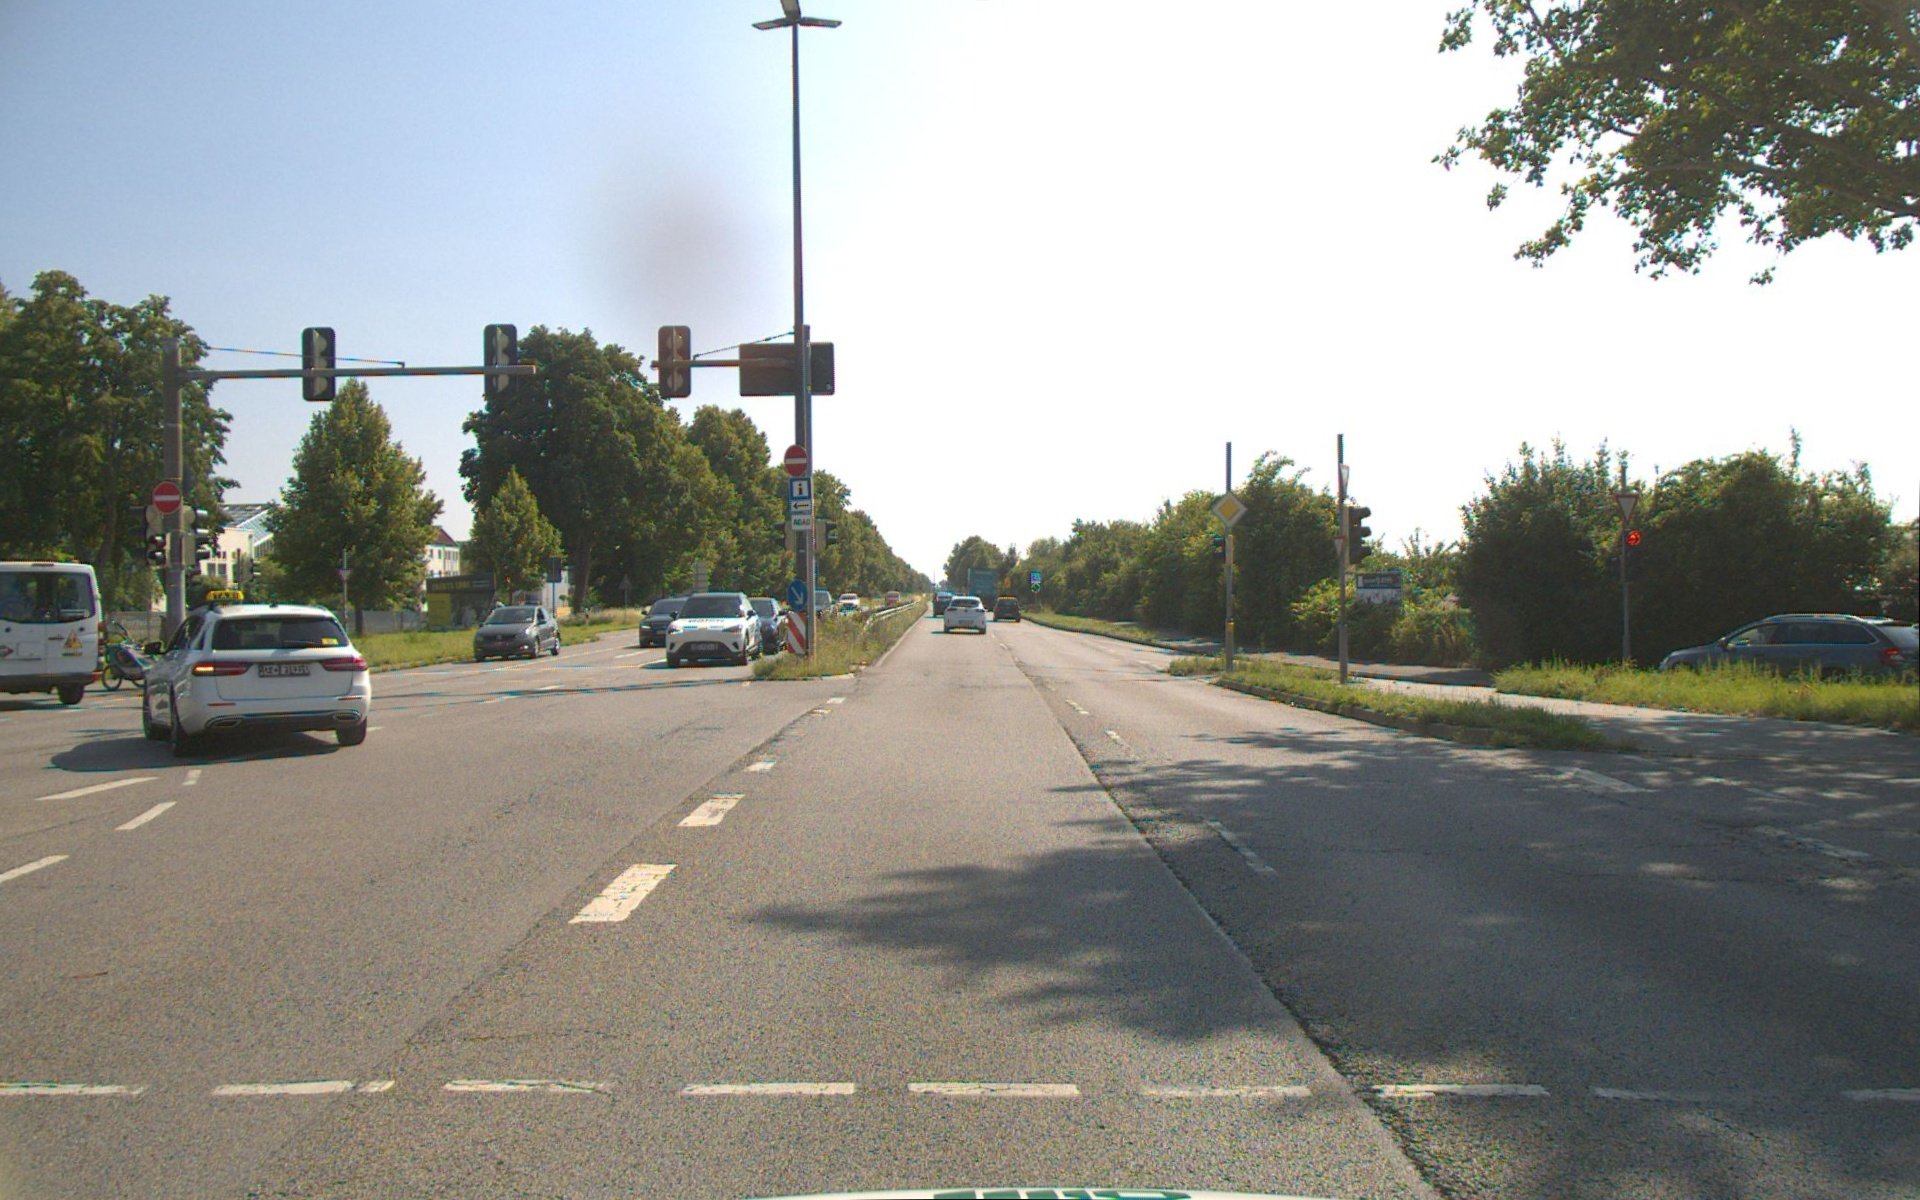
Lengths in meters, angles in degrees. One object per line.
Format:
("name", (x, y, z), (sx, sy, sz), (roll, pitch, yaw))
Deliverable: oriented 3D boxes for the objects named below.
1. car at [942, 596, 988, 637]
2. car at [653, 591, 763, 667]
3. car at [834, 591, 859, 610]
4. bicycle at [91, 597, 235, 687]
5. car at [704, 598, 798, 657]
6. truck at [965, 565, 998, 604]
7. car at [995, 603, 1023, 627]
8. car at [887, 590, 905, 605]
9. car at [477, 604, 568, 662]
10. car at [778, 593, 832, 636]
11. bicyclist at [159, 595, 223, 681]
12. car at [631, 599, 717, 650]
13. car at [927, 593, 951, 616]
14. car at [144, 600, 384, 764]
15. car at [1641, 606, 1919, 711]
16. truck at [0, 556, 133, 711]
("car", (0.212, 0.647, 66.803), (1.762, 1.580, 4.000), (1, 1, 0))
("car", (-5.789, 0.642, 38.491), (1.969, 1.638, 4.210), (-1, 0, -1))
("car", (-9.761, 0.033, 142.289), (1.953, 1.528, 4.089), (-1, 0, -2))
("bicycle", (-15.726, 0.806, 32.619), (2.737, 1.699, 1.135), (-1, 0, 27))
("car", (-5.607, 0.692, 44.921), (1.779, 1.511, 4.894), (0, 0, 2))
("truck", (1.915, -1.416, 151.893), (2.832, 3.488, 9.168), (-1, 0, 0))
("car", (2.908, 0.901, 98.877), (1.540, 1.439, 3.277), (0, -1, 0))
("car", (-6.621, -0.309, 171.852), (1.874, 1.528, 4.089), (-1, 0, -2))
("car", (-11.950, 0.876, 45.370), (1.455, 1.439, 3.762), (-3, 0, 0))
("car", (-6.115, 0.548, 65.639), (1.809, 1.622, 4.616), (-1, 0, -1))
("bicyclist", (-14.951, 0.734, 32.177), (0.845, 1.647, 0.757), (0, -1, 27))
("car", (-8.929, 0.735, 52.023), (1.890, 1.462, 4.267), (-1, 0, 1))
("car", (-1.332, 0.280, 107.801), (1.540, 1.439, 3.277), (-1, 0, 0))
("car", (-7.711, 0.801, 18.033), (1.794, 1.490, 4.920), (-1, 0, -30))
("car", (13.759, 0.888, 27.138), (1.973, 1.574, 4.569), (0, -1, -30))
("truck", (-16.805, 0.523, 28.420), (5.924, 2.430, 2.370), (0, 0, 39))
